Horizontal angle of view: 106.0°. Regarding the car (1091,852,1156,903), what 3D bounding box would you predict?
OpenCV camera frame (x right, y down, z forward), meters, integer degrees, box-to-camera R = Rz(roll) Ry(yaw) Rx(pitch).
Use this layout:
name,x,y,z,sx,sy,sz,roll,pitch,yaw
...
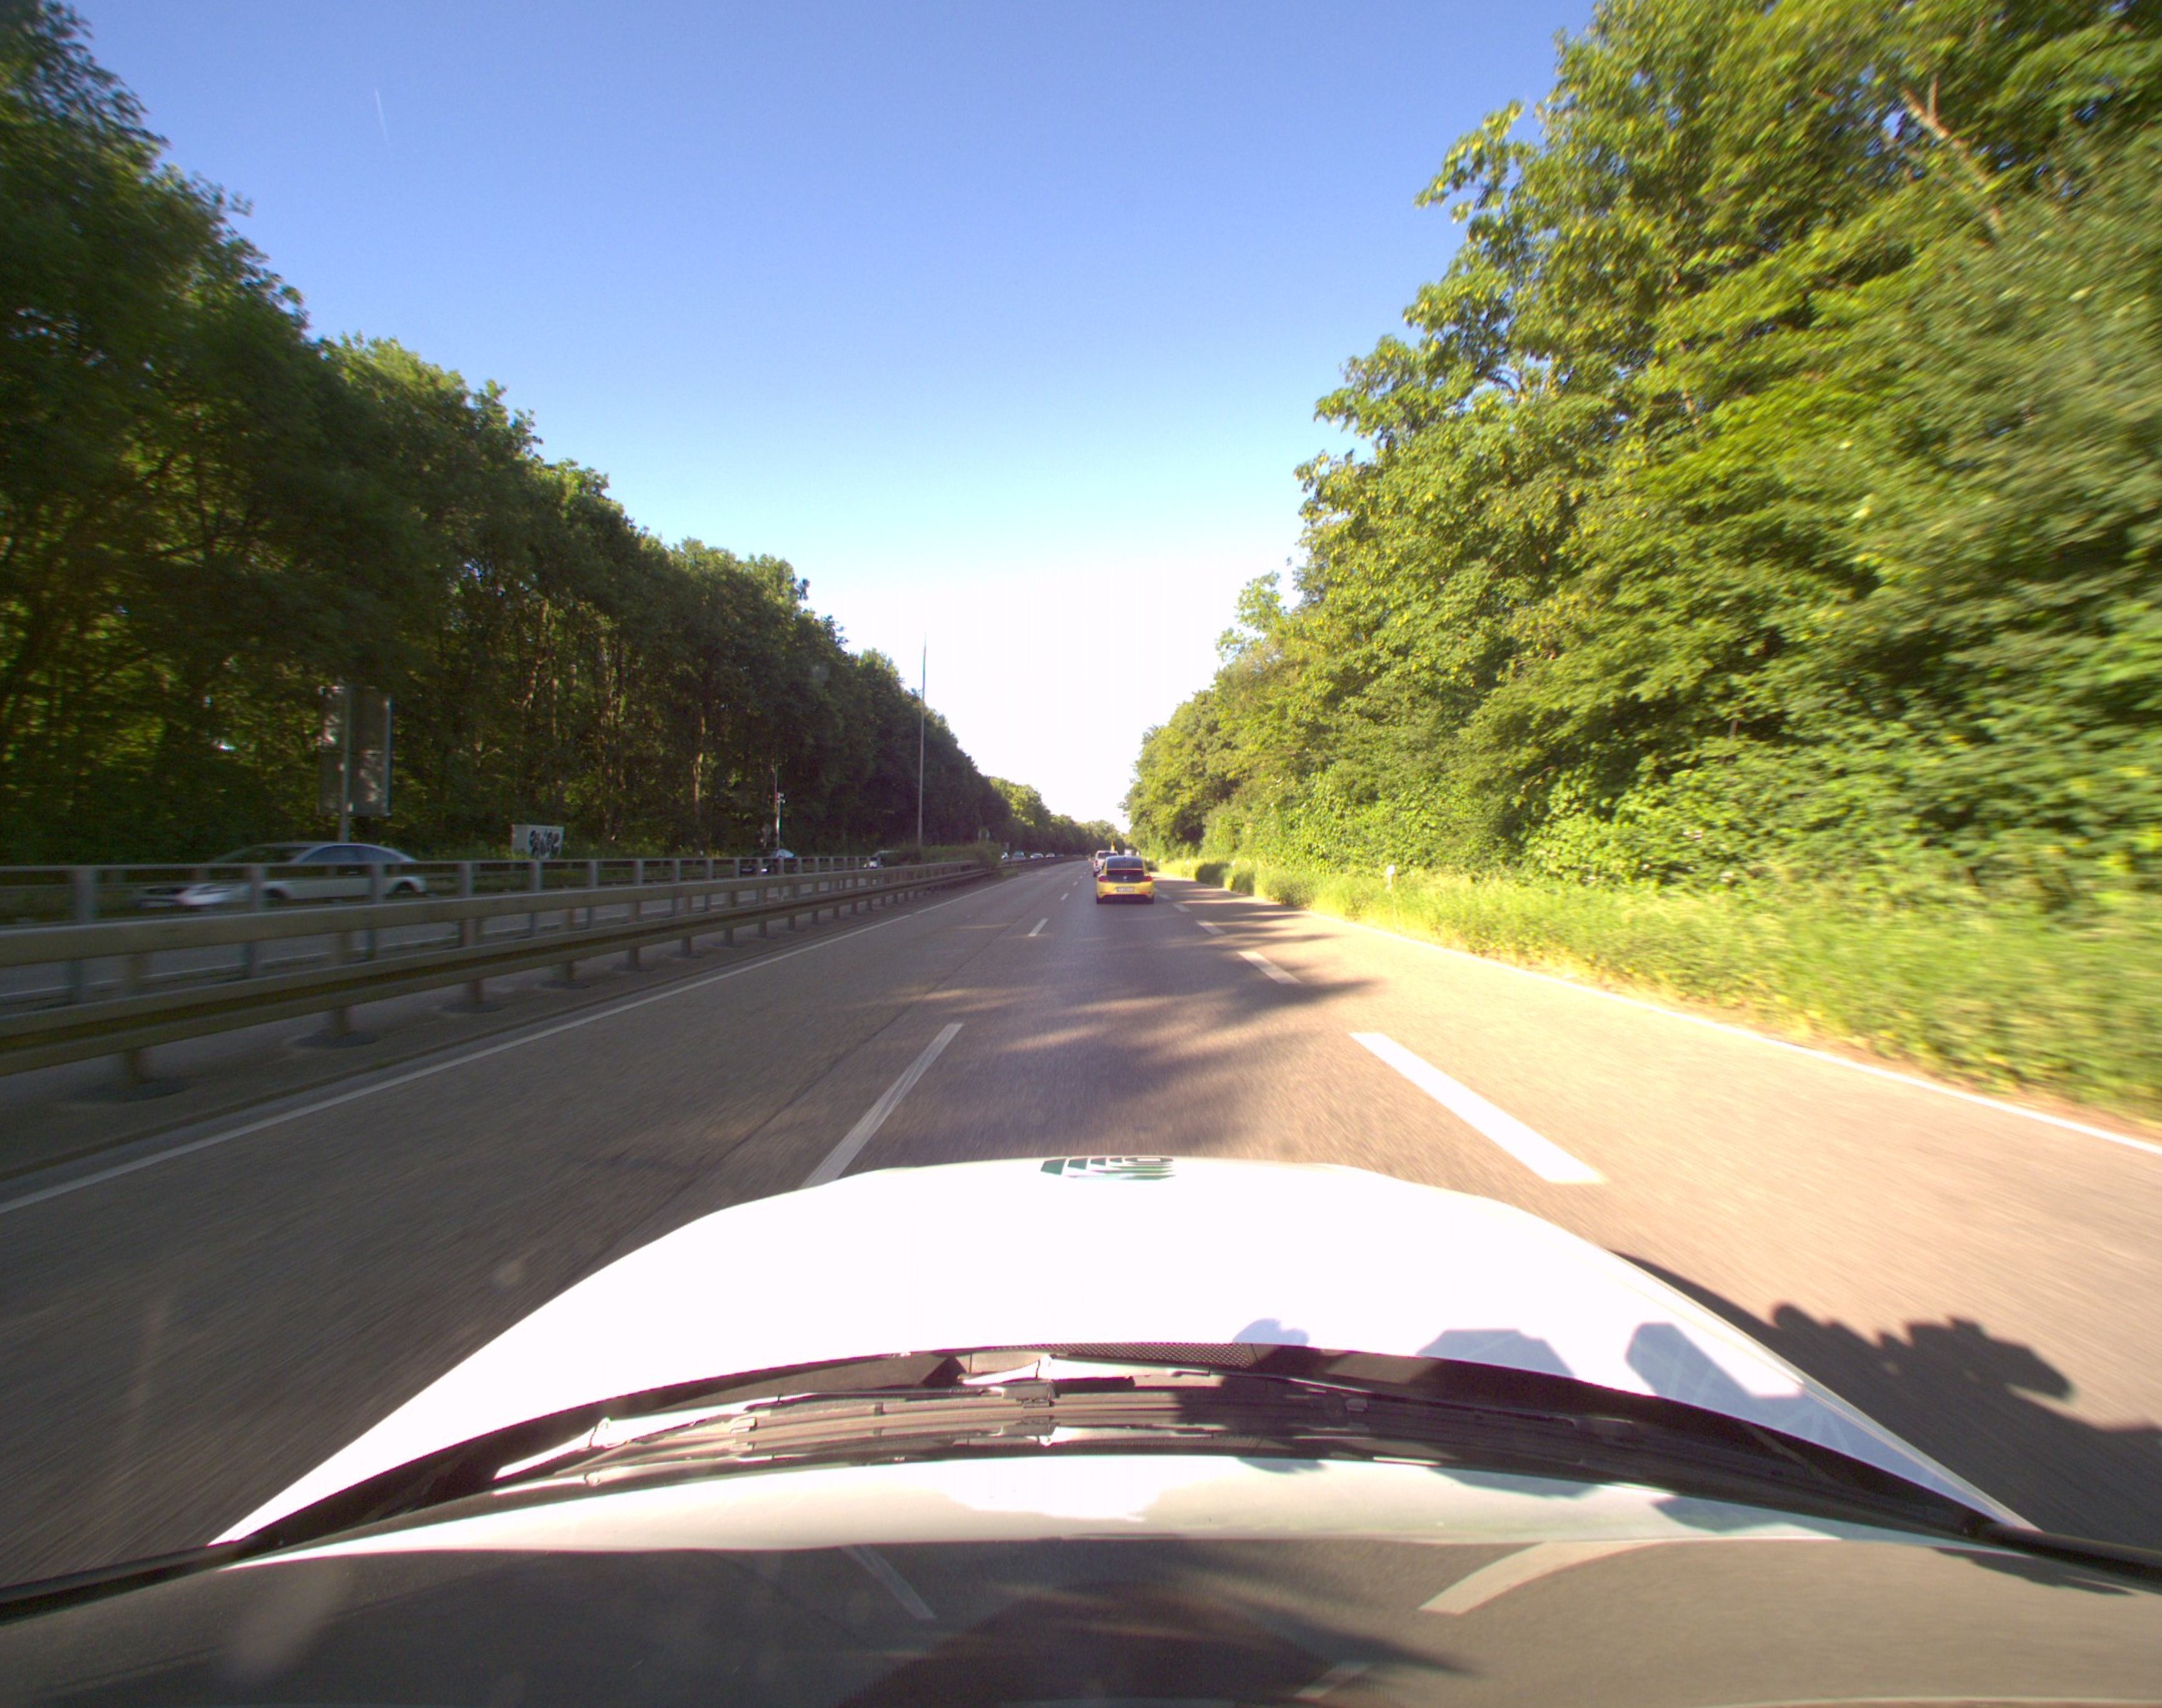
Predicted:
name,x,y,z,sx,sy,sz,roll,pitch,yaw
car,1.420,0.711,25.926,1.930,1.508,3.427,0,0,5

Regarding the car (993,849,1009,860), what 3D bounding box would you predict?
name,x,y,z,sx,sy,sz,roll,pitch,yaw
car,-12.698,0.094,129.596,1.986,1.600,4.709,0,0,1

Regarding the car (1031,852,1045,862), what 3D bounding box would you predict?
name,x,y,z,sx,sy,sz,roll,pitch,yaw
car,-6.998,0.525,133.730,1.986,1.560,4.709,0,0,1

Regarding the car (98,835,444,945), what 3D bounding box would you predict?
name,x,y,z,sx,sy,sz,roll,pitch,yaw
car,-14.662,0.591,15.201,1.986,1.750,4.374,0,0,2

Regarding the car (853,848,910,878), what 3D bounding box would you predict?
name,x,y,z,sx,sy,sz,roll,pitch,yaw
car,-10.206,0.431,41.965,1.724,1.489,4.398,1,0,2

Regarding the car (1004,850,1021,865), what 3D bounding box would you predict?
name,x,y,z,sx,sy,sz,roll,pitch,yaw
car,-8.981,0.444,106.809,1.781,1.860,4.001,0,0,1

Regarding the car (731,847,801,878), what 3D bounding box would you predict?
name,x,y,z,sx,sy,sz,roll,pitch,yaw
car,-16.011,0.405,41.609,1.724,1.489,4.455,1,0,2

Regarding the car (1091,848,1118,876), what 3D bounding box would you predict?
name,x,y,z,sx,sy,sz,roll,pitch,yaw
car,1.632,0.503,54.771,1.734,1.830,3.424,-1,0,2
